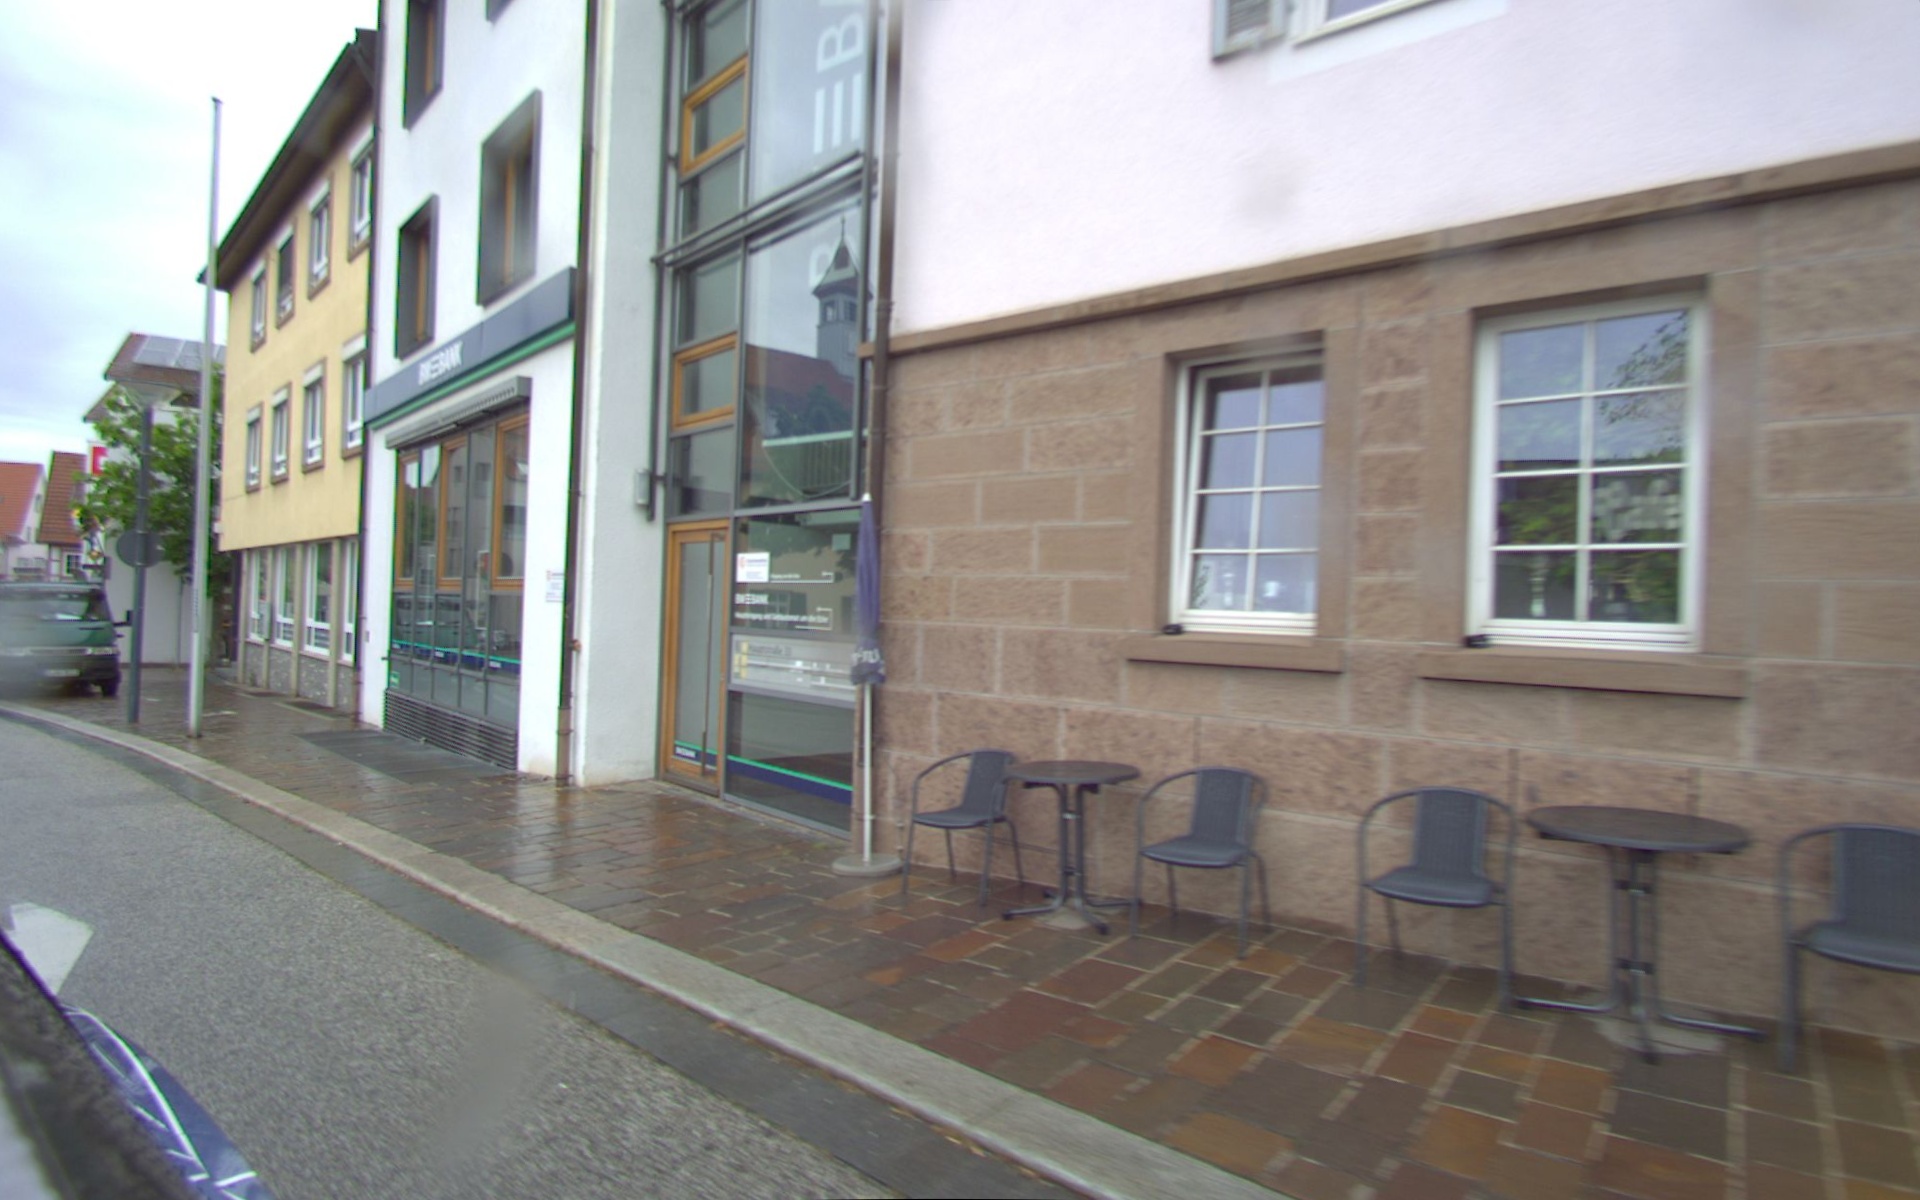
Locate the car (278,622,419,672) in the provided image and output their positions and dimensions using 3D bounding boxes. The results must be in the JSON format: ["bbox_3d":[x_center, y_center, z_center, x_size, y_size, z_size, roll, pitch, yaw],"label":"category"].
[{"bbox_3d":[-20.823,1.626,34.515,3.933,1.576,1.971,3,-3,-34],"label":"car"}]

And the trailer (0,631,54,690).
[{"bbox_3d":[-23.300,1.438,24.388,3.158,1.357,1.710,-2,-4,40],"label":"trailer"}]

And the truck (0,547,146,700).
[{"bbox_3d":[-19.576,0.553,21.322,6.594,2.816,2.448,-2,-4,40],"label":"truck"}]
